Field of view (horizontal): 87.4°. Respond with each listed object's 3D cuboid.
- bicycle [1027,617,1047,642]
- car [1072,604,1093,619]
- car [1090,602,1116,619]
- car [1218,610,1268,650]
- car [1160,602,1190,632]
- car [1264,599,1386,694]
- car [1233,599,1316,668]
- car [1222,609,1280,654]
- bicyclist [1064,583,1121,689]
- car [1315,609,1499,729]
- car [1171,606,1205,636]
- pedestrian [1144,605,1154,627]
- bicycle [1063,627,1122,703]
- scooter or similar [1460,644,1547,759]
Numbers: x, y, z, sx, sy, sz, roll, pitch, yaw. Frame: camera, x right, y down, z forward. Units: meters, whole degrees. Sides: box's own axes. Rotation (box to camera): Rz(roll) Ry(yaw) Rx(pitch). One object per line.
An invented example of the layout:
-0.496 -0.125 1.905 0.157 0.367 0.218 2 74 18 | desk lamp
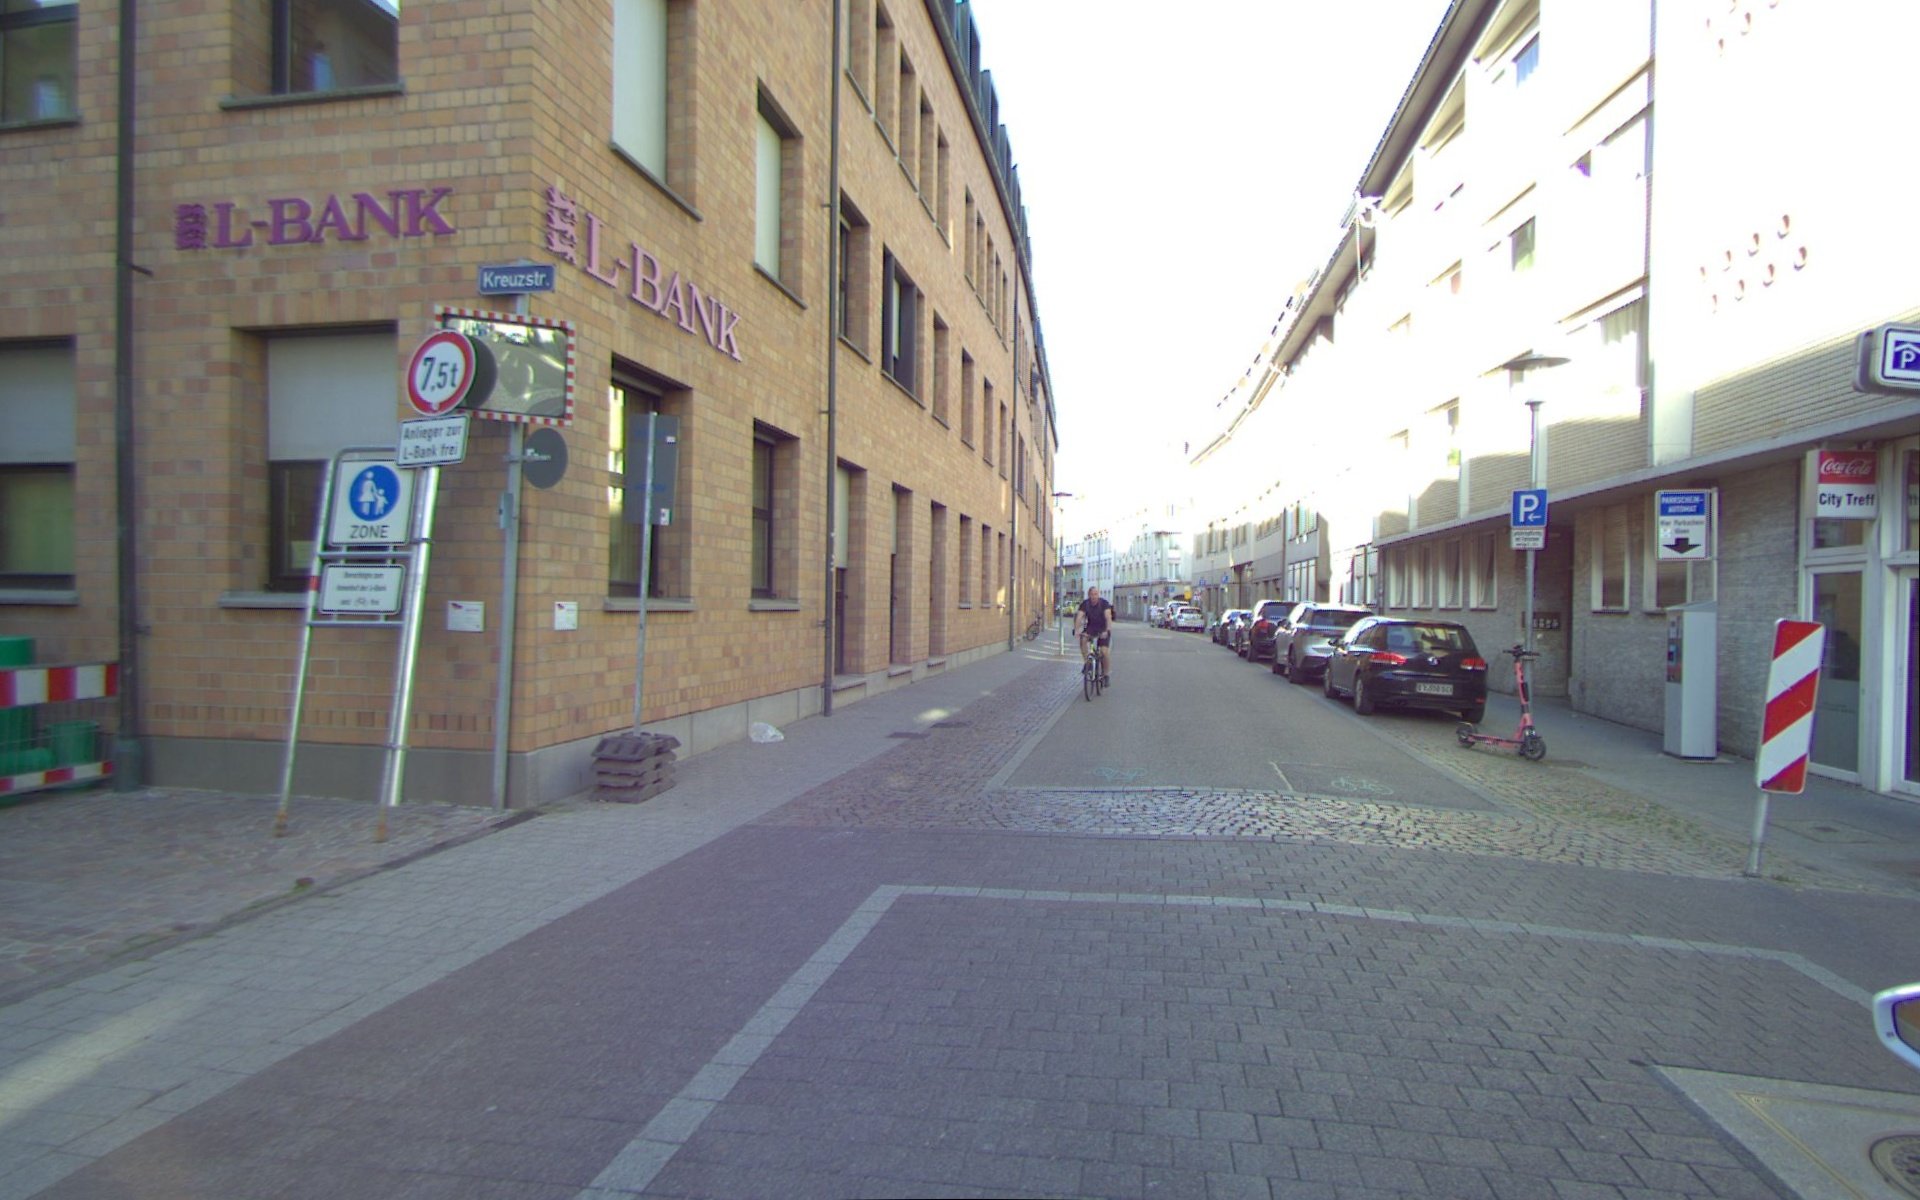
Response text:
3.044 1.163 39.690 0.630 0.893 2.558 2 0 7 | bicycle
14.710 1.319 120.715 1.898 1.673 3.835 2 0 -3 | car
14.798 1.086 103.981 1.898 1.673 3.835 1 0 -3 | car
11.134 1.162 39.742 1.490 1.409 3.628 3 0 10 | car
14.367 1.121 67.289 1.659 1.799 3.658 3 0 8 | car
7.515 0.896 21.025 1.640 1.683 4.083 3 0 10 | car
8.786 0.898 28.328 1.640 1.727 4.015 3 0 10 | car
10.143 1.074 35.186 1.490 1.409 3.628 3 0 10 | car
2.174 0.586 16.452 0.757 1.677 0.957 -2 -1 16 | bicyclist
6.827 0.964 15.769 1.705 1.506 3.813 3 1 10 | car
13.873 1.275 61.311 1.659 1.701 3.509 3 0 8 | car
13.037 1.128 69.372 0.560 1.499 0.474 1 0 3 | pedestrian
2.201 1.032 16.454 0.691 1.118 1.828 -2 -1 15 | bicycle
6.079 1.116 11.264 0.206 1.199 0.875 1 0 -29 | scooter or similar
